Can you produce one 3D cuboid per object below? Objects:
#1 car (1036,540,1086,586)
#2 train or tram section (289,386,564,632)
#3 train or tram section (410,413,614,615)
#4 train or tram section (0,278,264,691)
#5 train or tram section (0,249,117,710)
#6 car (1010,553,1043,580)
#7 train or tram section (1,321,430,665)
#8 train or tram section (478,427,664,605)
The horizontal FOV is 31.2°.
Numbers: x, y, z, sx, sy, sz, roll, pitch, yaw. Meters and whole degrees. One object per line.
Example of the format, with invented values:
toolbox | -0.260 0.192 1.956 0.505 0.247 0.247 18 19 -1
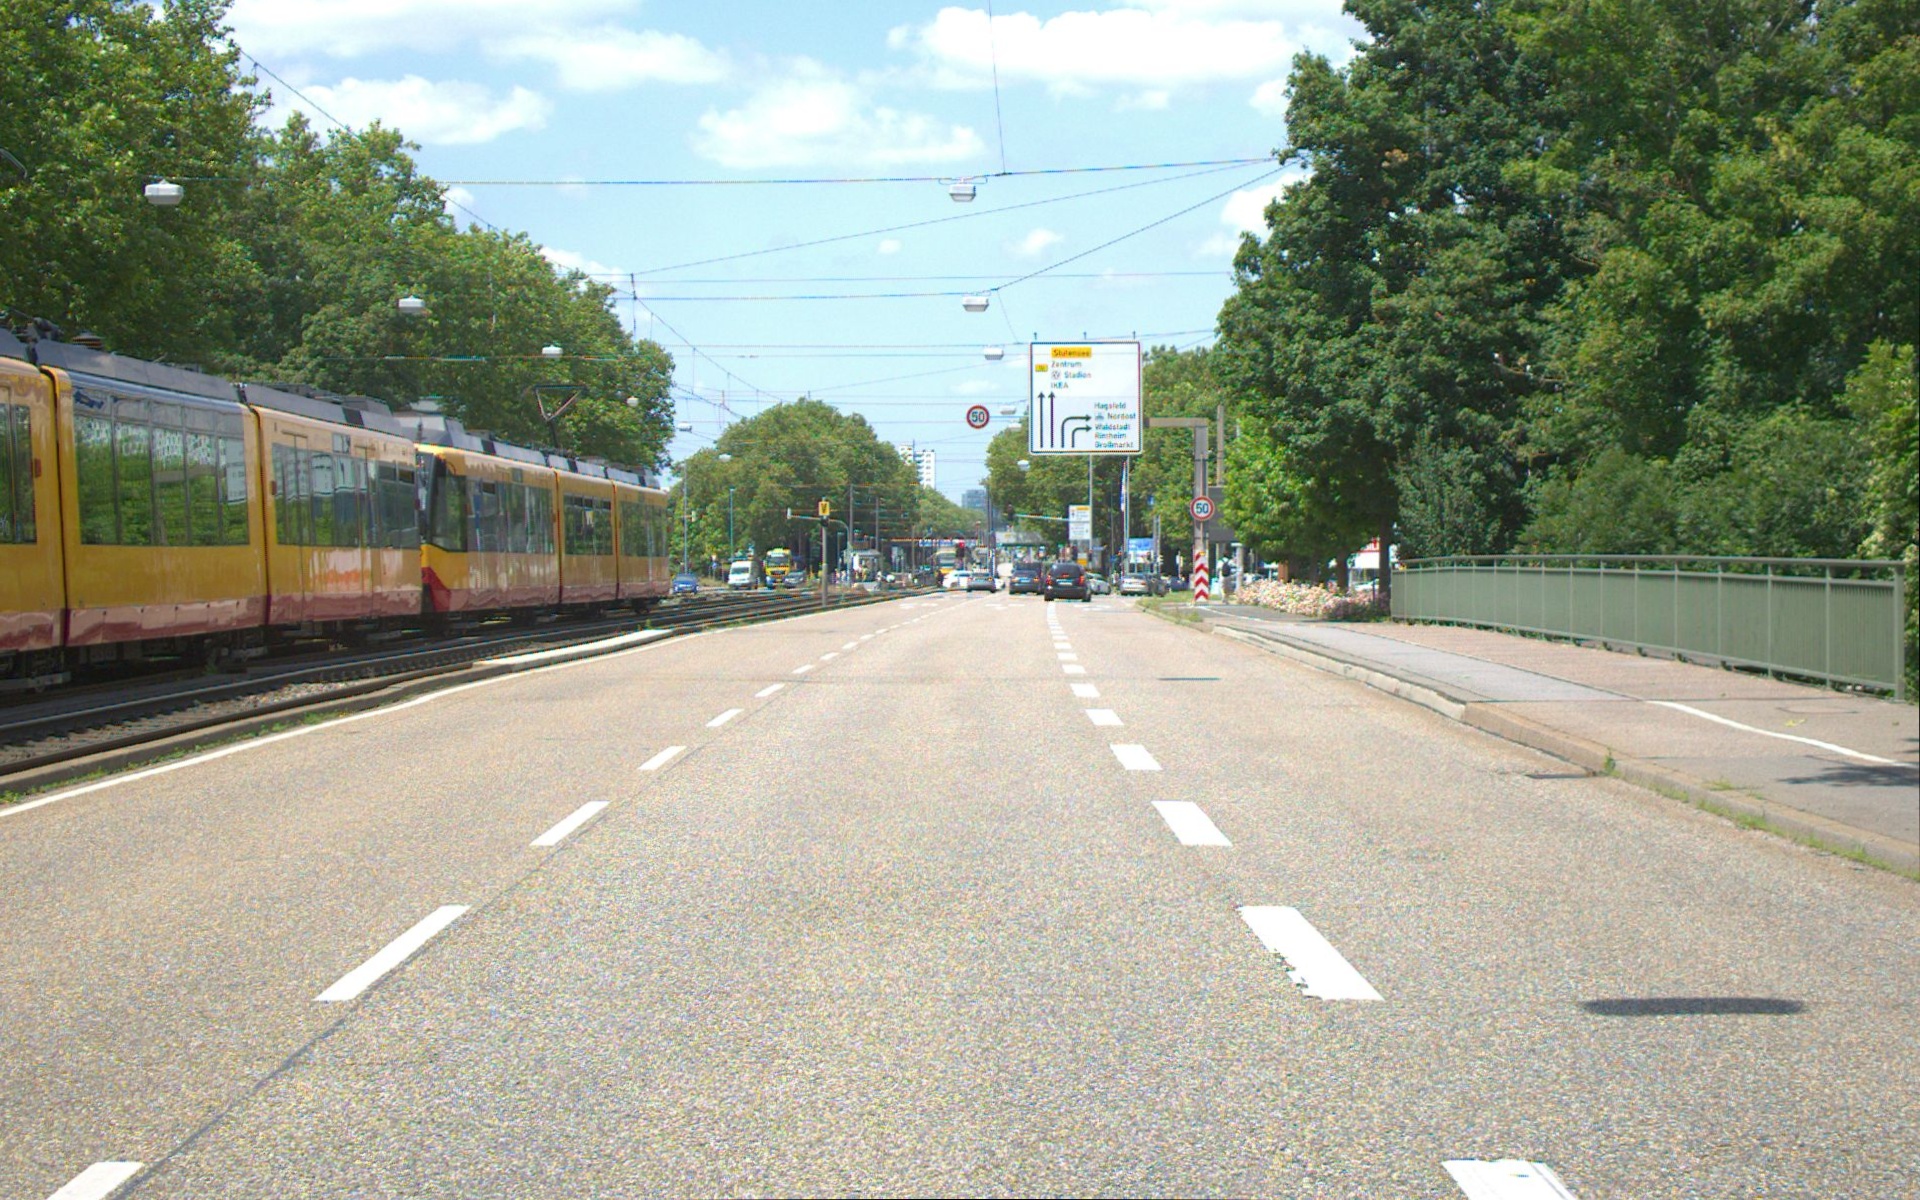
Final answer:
car | 4.170 -1.530 142.151 1.899 1.799 3.976 1 1 0
train or tram section | -9.867 -1.659 65.279 3.038 4.140 13.483 -1 1 0
train or tram section | -9.806 -1.869 76.408 3.038 4.134 10.233 -1 1 1
train or tram section | -10.365 -1.257 39.472 3.048 4.252 8.003 -1 1 0
train or tram section | -10.394 -1.037 28.298 3.048 4.252 15.424 -1 1 0
car | 3.920 -1.985 203.025 1.876 1.534 3.777 1 1 0
train or tram section | -10.338 -1.461 49.766 3.048 4.252 14.037 -1 1 0
train or tram section | -9.725 -2.079 87.610 3.038 4.126 13.982 -1 1 0
